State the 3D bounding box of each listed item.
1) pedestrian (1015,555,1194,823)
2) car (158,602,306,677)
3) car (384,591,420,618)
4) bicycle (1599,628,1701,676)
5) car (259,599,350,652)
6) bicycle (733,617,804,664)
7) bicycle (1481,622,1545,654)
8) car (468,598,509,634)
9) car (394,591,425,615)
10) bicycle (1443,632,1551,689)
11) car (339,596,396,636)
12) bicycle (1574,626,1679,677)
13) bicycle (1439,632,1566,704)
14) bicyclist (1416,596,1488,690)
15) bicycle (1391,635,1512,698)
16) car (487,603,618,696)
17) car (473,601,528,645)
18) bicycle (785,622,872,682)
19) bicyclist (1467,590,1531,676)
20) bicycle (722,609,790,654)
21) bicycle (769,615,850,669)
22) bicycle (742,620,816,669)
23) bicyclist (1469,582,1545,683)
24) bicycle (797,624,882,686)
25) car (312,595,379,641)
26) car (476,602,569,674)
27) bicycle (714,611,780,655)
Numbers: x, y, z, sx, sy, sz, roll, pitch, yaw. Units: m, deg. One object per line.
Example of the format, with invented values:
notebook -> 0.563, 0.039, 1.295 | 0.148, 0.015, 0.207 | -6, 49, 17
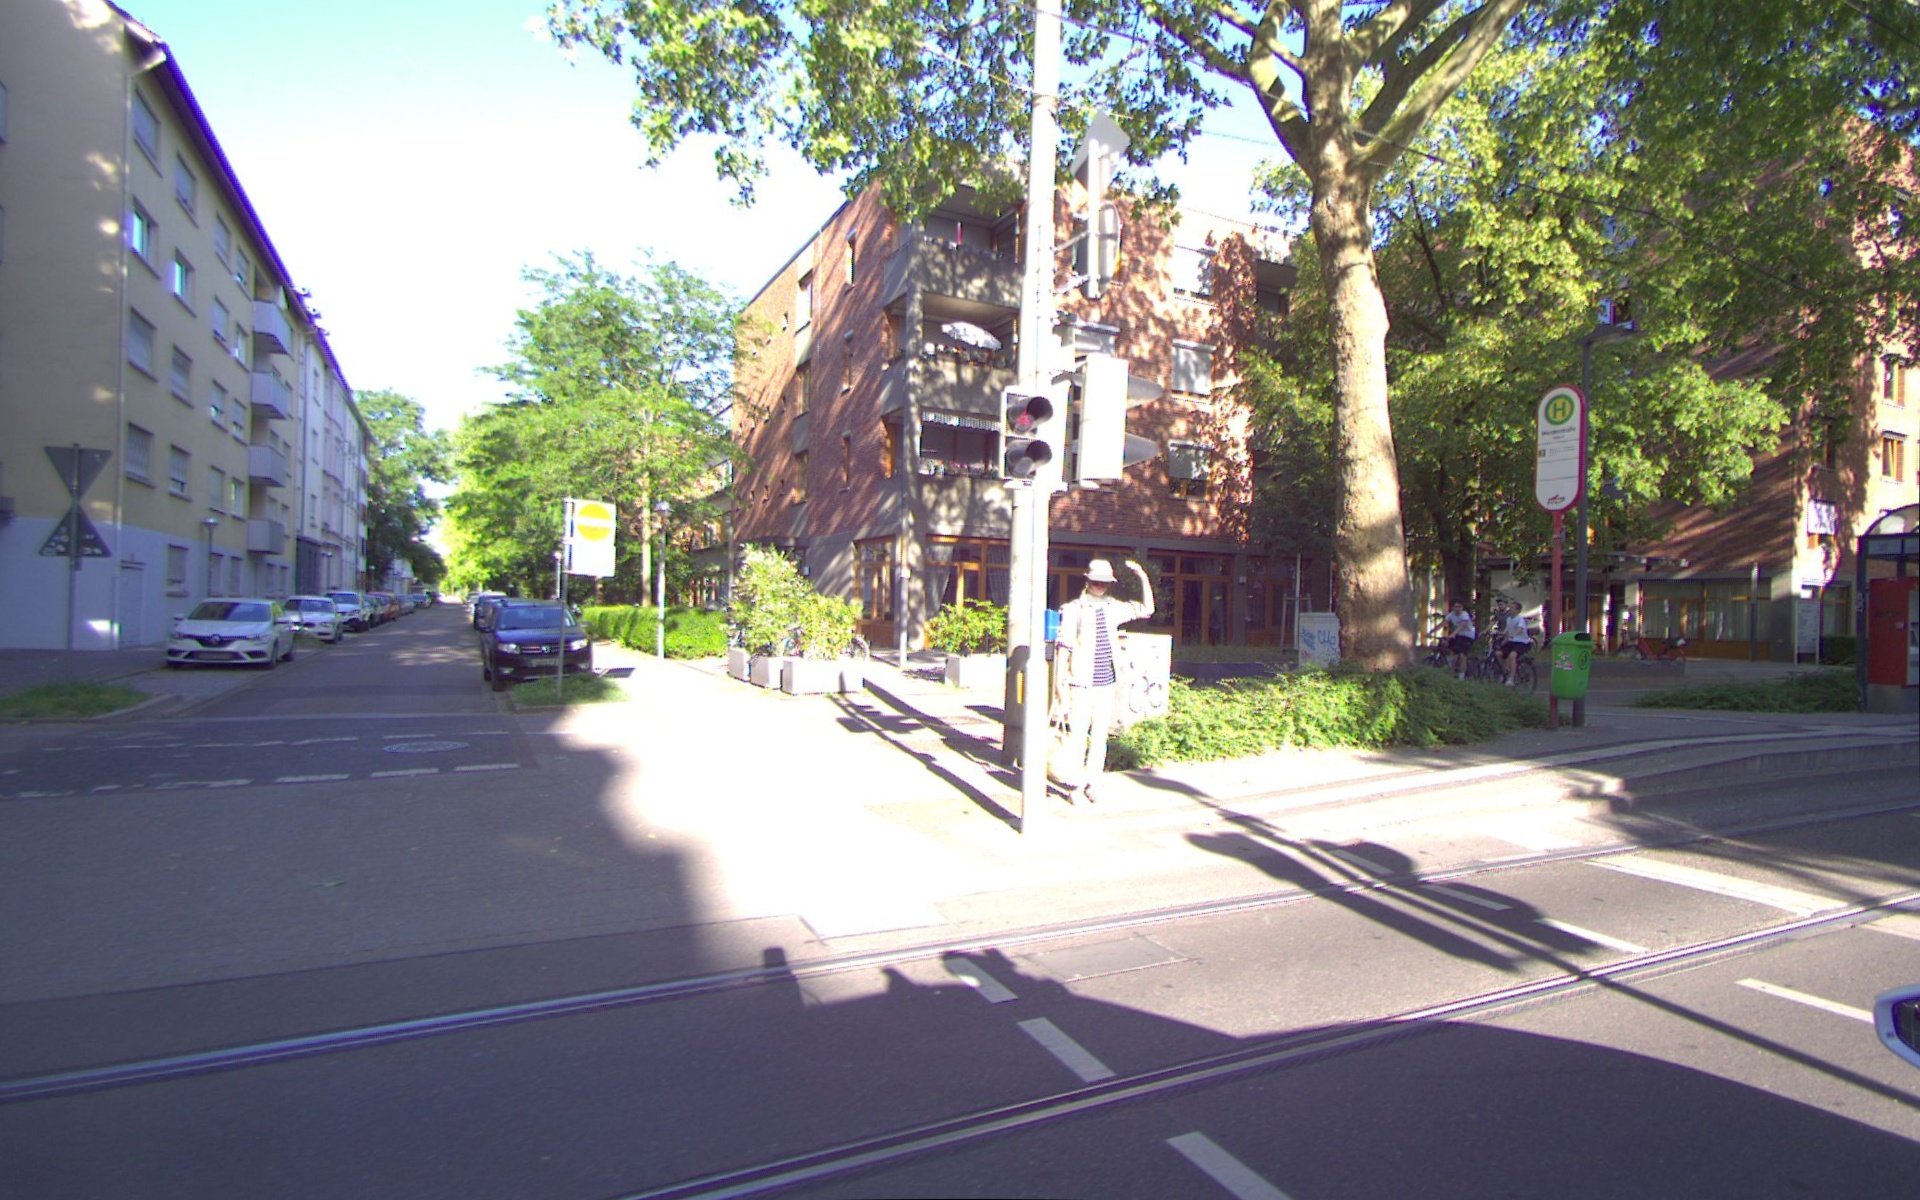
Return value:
pedestrian -> 1.077, 0.623, 7.577 | 0.909, 1.860, 0.919 | 2, 0, -31
car -> -15.644, 0.812, 21.814 | 1.975, 1.394, 3.971 | 2, 0, -27
car -> -38.628, 0.300, 69.589 | 1.975, 1.706, 3.971 | 2, 0, -27
bicycle -> 19.551, 1.456, 28.539 | 0.673, 1.182, 2.332 | 2, 1, -26
car -> -20.639, 0.777, 31.780 | 1.975, 1.477, 3.971 | 2, 0, -27
bicycle -> -4.723, 1.001, 24.784 | 1.618, 1.098, 0.539 | 2, 0, -29
bicycle -> 20.627, 1.426, 37.505 | 0.759, 1.087, 1.922 | 2, 0, -42
car -> -24.967, 0.813, 53.157 | 1.801, 1.728, 3.971 | 2, 0, -27
car -> -42.290, 0.203, 77.235 | 1.975, 1.706, 3.971 | 2, 0, -27
bicycle -> 11.518, 1.289, 21.509 | 2.565, 1.125, 0.778 | 2, 0, -30
car -> -27.573, 0.710, 46.855 | 1.975, 1.706, 3.971 | 2, 0, -27
bicycle -> 18.787, 1.421, 28.387 | 0.673, 1.235, 2.450 | 2, 1, -26
bicycle -> 9.863, 1.223, 18.226 | 2.565, 1.207, 0.778 | 2, 0, -30
bicyclist -> 9.509, 0.823, 19.422 | 0.985, 1.773, 0.771 | 2, 0, -29
bicycle -> 9.523, 1.274, 19.438 | 2.565, 1.125, 0.778 | 2, 0, -30
car -> -7.945, 0.888, 19.372 | 1.975, 1.528, 3.971 | 2, 0, -27
car -> -18.703, 0.904, 40.782 | 1.814, 1.639, 3.971 | 2, 0, -27
bicycle -> -2.576, 1.009, 19.780 | 1.618, 1.099, 0.539 | -1, 1, -29
bicyclist -> 11.539, 0.700, 21.504 | 0.986, 1.773, 0.771 | 2, 0, -30
bicycle -> -5.280, 0.814, 25.996 | 1.618, 1.098, 0.539 | 2, 0, -29
bicycle -> -3.188, 0.878, 21.360 | 1.618, 1.099, 0.539 | 0, 1, -29
bicycle -> -4.217, 1.023, 23.433 | 1.618, 1.098, 0.539 | 1, 0, -29
bicyclist -> 9.935, 0.584, 18.248 | 0.940, 1.786, 0.779 | 2, 0, -30
bicycle -> -2.296, 1.033, 19.221 | 1.518, 1.099, 0.539 | -1, 2, -29
car -> -24.989, 0.721, 40.962 | 1.975, 1.706, 3.971 | 2, 0, -27
car -> -11.442, 0.936, 26.115 | 1.936, 1.684, 3.972 | 2, -1, -27
bicycle -> -5.644, 0.882, 26.623 | 1.618, 1.098, 0.539 | 2, 0, -29
